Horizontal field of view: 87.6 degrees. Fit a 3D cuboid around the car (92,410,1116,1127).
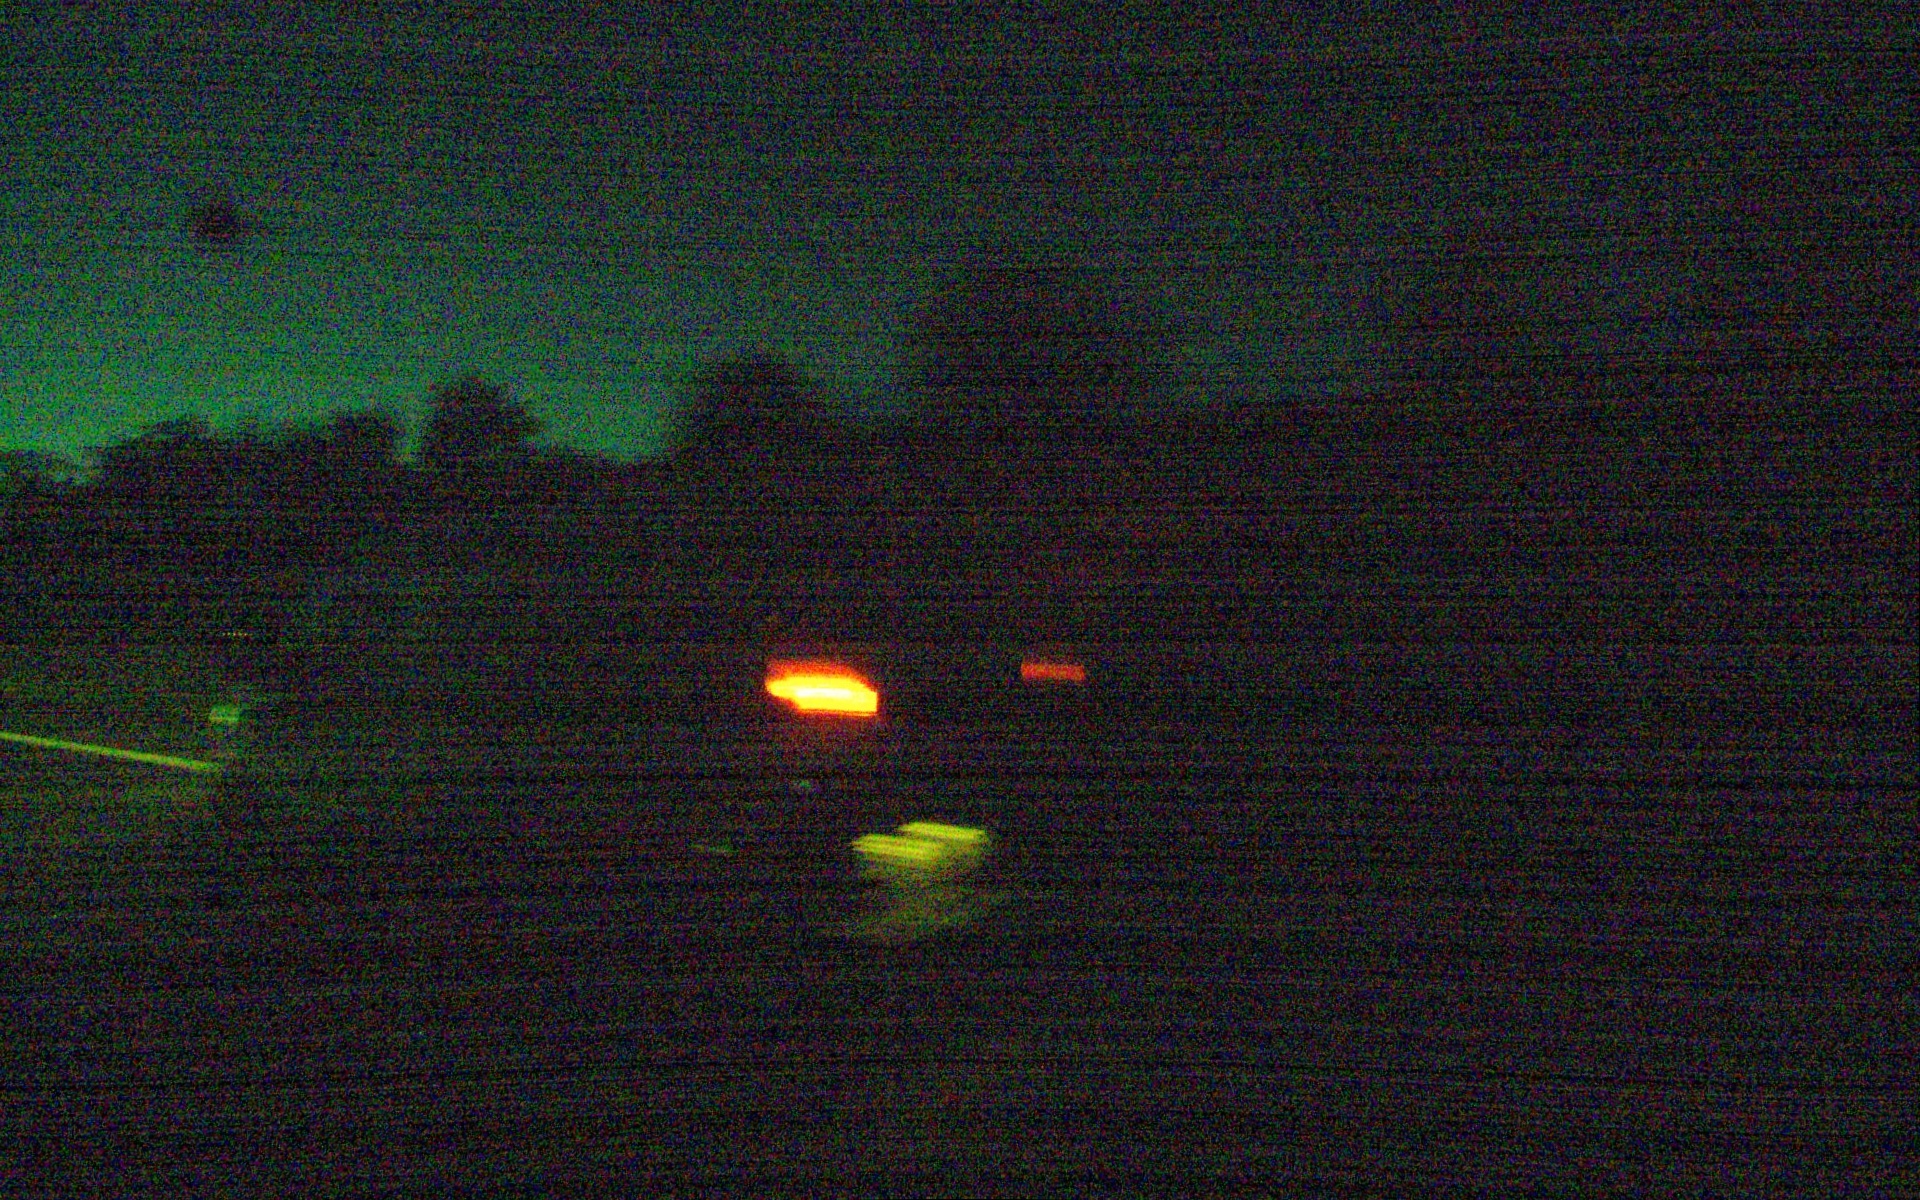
[{"bbox_3d":[-2.189,0.562,5.249,5.584,2.026,2.111,-2,-2,33],"label":"car"}]
